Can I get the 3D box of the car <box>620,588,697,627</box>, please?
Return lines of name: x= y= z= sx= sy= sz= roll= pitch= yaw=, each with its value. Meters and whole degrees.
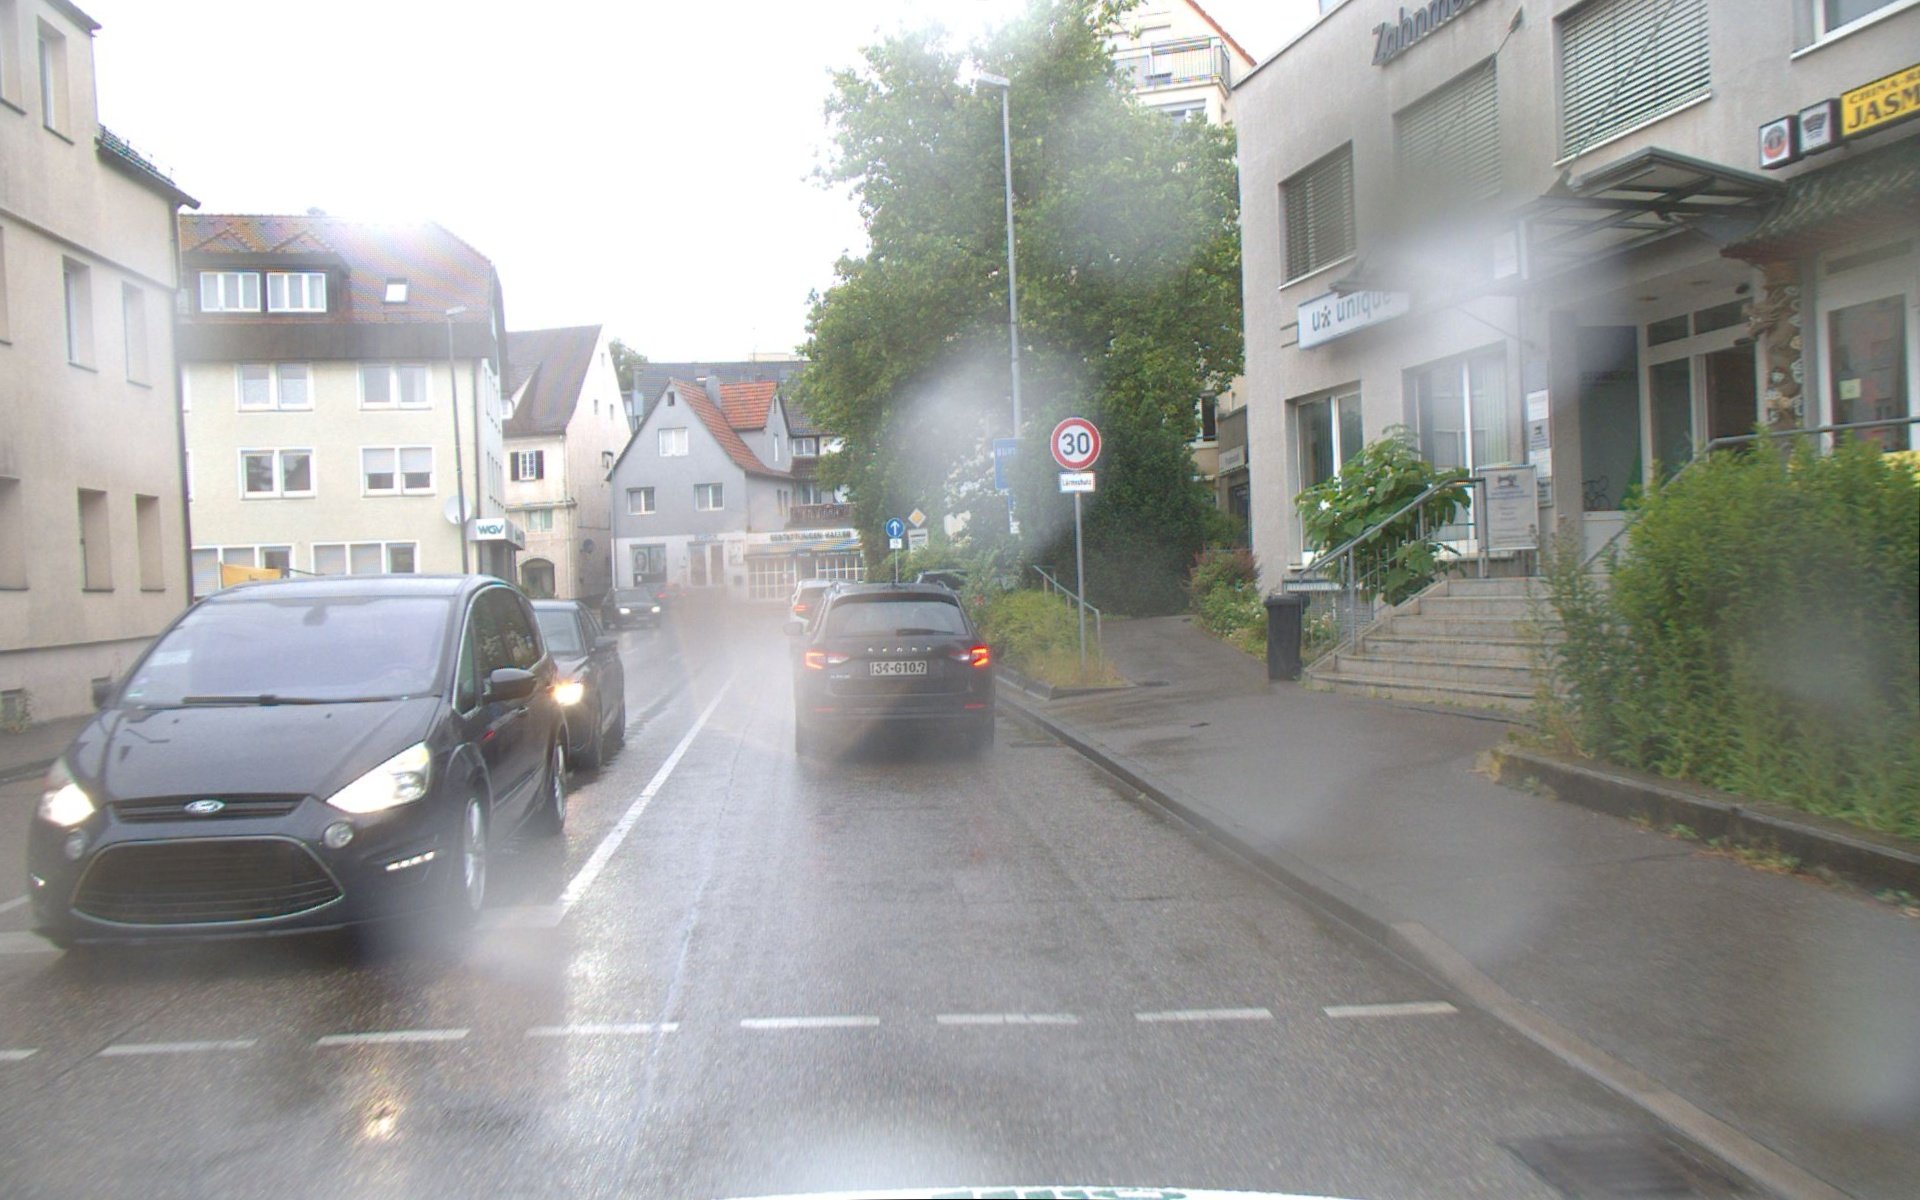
car: x=-14.356 y=0.380 z=78.615 sx=1.884 sy=1.618 sz=3.630 roll=-3 pitch=-1 yaw=-43

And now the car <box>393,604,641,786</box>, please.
car: x=-3.930 y=0.764 z=15.262 sx=1.585 sy=1.357 sz=3.947 roll=-2 pitch=1 yaw=-6

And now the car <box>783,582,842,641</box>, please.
car: x=-4.594 y=0.398 z=51.986 sx=1.693 sy=1.618 sz=4.180 roll=-1 pitch=-3 yaw=-4

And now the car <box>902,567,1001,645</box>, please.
car: x=-0.258 y=0.127 z=39.811 sx=1.818 sy=1.669 sz=3.864 roll=-4 pitch=1 yaw=-8

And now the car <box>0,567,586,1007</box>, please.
car: x=-3.079 y=0.680 z=8.434 sx=1.750 sy=1.590 sz=4.396 roll=-2 pitch=1 yaw=-6

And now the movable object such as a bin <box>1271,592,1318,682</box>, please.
movable object such as a bin: x=3.813 y=0.414 z=18.831 sx=0.500 sy=0.962 sz=0.603 roll=1 pitch=4 yaw=13

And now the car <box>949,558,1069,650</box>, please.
car: x=0.943 y=0.074 z=33.936 sx=1.818 sy=1.669 sz=3.532 roll=-4 pitch=1 yaw=-8

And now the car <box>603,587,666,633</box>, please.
car: x=-12.404 y=0.408 z=62.846 sx=1.636 sy=1.598 sz=3.974 roll=-3 pitch=0 yaw=-21

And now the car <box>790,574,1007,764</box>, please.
car: x=-0.630 y=0.560 z=15.667 sx=1.747 sy=1.509 sz=4.243 roll=-1 pitch=0 yaw=-4

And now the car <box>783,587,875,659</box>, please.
car: x=-2.774 y=0.467 z=35.378 sx=1.782 sy=1.383 sz=3.986 roll=-2 pitch=0 yaw=-4
